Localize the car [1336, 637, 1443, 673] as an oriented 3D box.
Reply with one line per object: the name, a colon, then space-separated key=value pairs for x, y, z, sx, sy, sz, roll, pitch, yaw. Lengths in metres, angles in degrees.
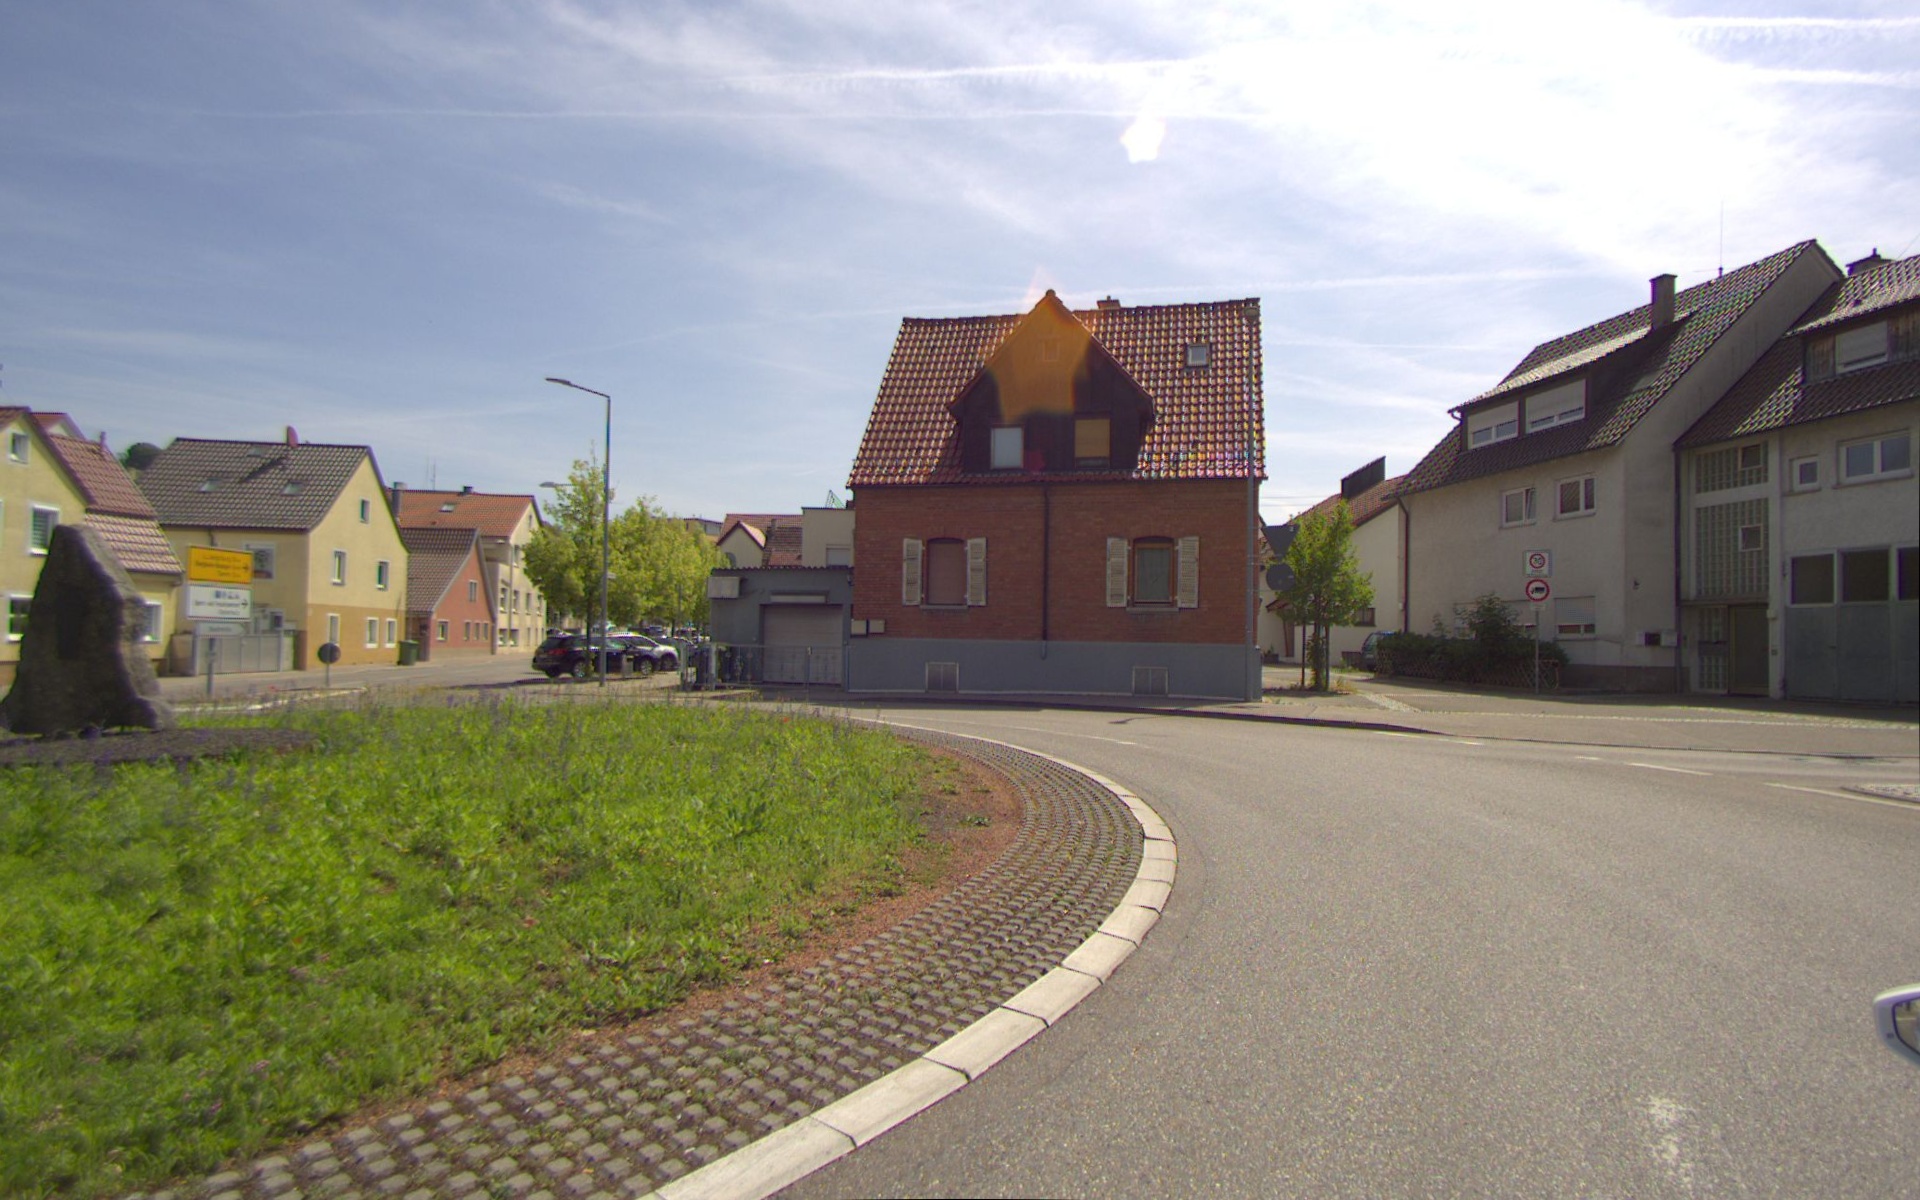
car: x=15.804 y=2.000 z=37.033 sx=3.345 sy=1.268 sz=1.491 roll=0 pitch=-1 yaw=-7

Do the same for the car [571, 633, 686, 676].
car: x=-13.164 y=2.146 z=40.051 sx=1.793 sy=1.639 sz=3.975 roll=-1 pitch=-3 yaw=45

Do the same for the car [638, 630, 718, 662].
car: x=-15.532 y=2.516 z=55.477 sx=1.840 sy=1.691 sz=3.990 roll=0 pitch=-2 yaw=33

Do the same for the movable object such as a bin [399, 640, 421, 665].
movable object such as a bin: x=-23.941 y=2.277 z=43.752 sx=0.687 sy=1.065 sz=0.673 roll=0 pitch=-1 yaw=-13

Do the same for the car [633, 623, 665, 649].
car: x=-25.264 y=2.915 z=81.688 sx=2.081 sy=2.040 sz=3.991 roll=1 pitch=-2 yaw=-13
